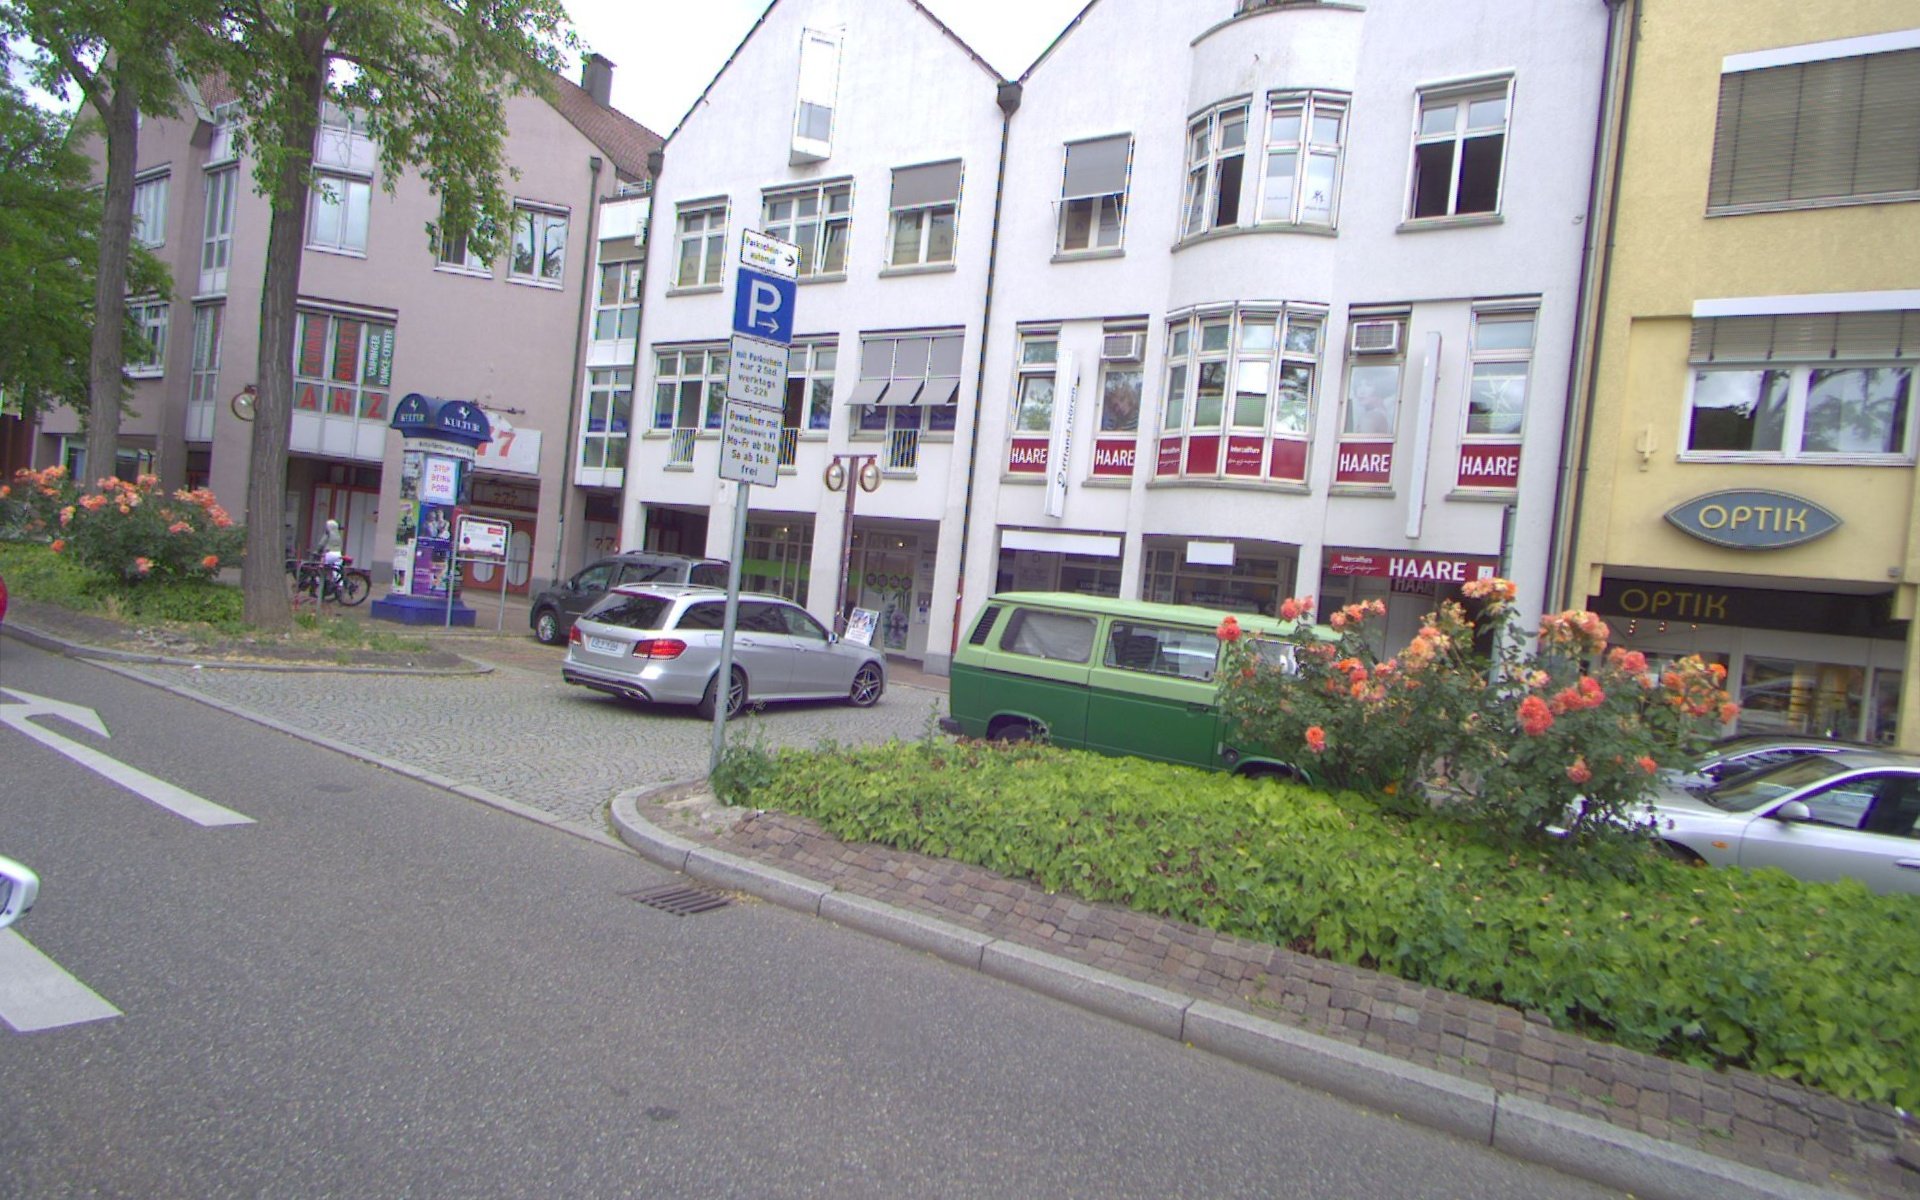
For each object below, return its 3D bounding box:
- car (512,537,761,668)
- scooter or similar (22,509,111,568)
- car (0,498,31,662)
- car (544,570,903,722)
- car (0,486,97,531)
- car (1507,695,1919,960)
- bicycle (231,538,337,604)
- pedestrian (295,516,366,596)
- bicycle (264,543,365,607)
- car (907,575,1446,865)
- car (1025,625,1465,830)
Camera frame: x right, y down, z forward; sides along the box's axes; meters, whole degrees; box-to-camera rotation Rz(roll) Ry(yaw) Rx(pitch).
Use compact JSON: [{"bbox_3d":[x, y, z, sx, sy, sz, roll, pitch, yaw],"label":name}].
[{"bbox_3d":[-5.841,0.027,18.031,4.188,1.827,1.736,7,1,29],"label":"car"},{"bbox_3d":[-19.908,-1.363,22.404,1.852,1.101,0.471,6,1,14],"label":"scooter or similar"},{"bbox_3d":[-10.473,-0.427,9.392,3.581,1.465,1.630,7,-2,32],"label":"car"},{"bbox_3d":[-2.814,0.604,13.116,1.711,1.472,4.643,7,0,31],"label":"car"},{"bbox_3d":[-40.707,-4.089,43.914,1.770,1.421,4.182,7,-1,29],"label":"car"},{"bbox_3d":[6.714,1.716,7.319,4.672,1.326,1.841,6,1,28],"label":"car"},{"bbox_3d":[-12.942,-0.541,19.283,1.545,1.061,0.405,7,1,-17],"label":"bicycle"},{"bbox_3d":[-14.204,-0.993,22.704,1.075,1.647,0.809,7,1,29],"label":"pedestrian"},{"bbox_3d":[-12.790,-0.494,19.955,1.545,1.061,0.405,7,1,-17],"label":"bicycle"},{"bbox_3d":[2.056,0.963,9.921,4.672,1.900,1.996,6,1,29],"label":"car"},{"bbox_3d":[3.379,1.358,12.119,4.672,1.567,1.996,6,1,28],"label":"car"}]
